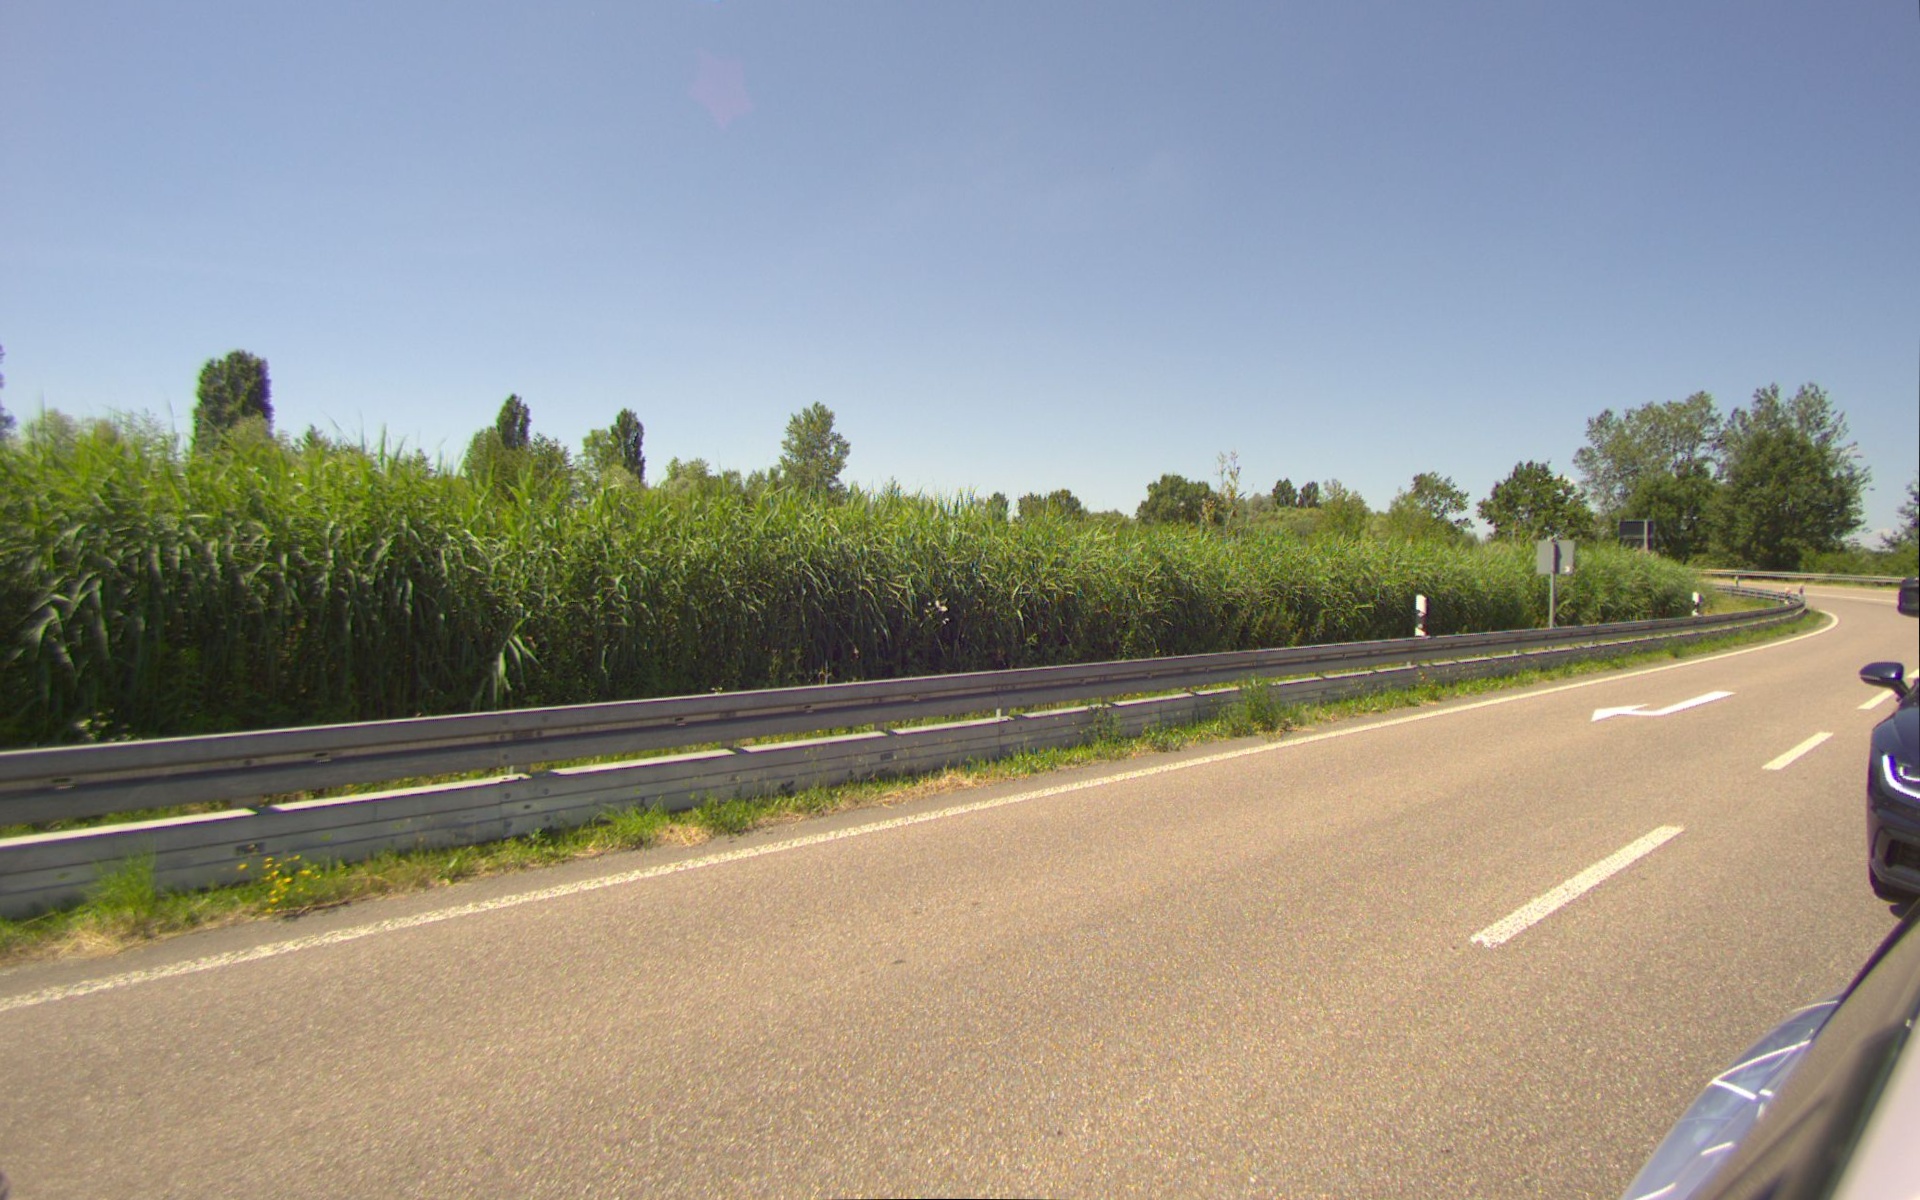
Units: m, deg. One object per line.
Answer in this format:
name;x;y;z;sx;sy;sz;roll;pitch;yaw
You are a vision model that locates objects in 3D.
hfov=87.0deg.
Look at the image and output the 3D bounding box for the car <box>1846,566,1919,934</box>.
car;5.935;0.580;4.972;4.339;1.481;1.818;-1;1;-41
